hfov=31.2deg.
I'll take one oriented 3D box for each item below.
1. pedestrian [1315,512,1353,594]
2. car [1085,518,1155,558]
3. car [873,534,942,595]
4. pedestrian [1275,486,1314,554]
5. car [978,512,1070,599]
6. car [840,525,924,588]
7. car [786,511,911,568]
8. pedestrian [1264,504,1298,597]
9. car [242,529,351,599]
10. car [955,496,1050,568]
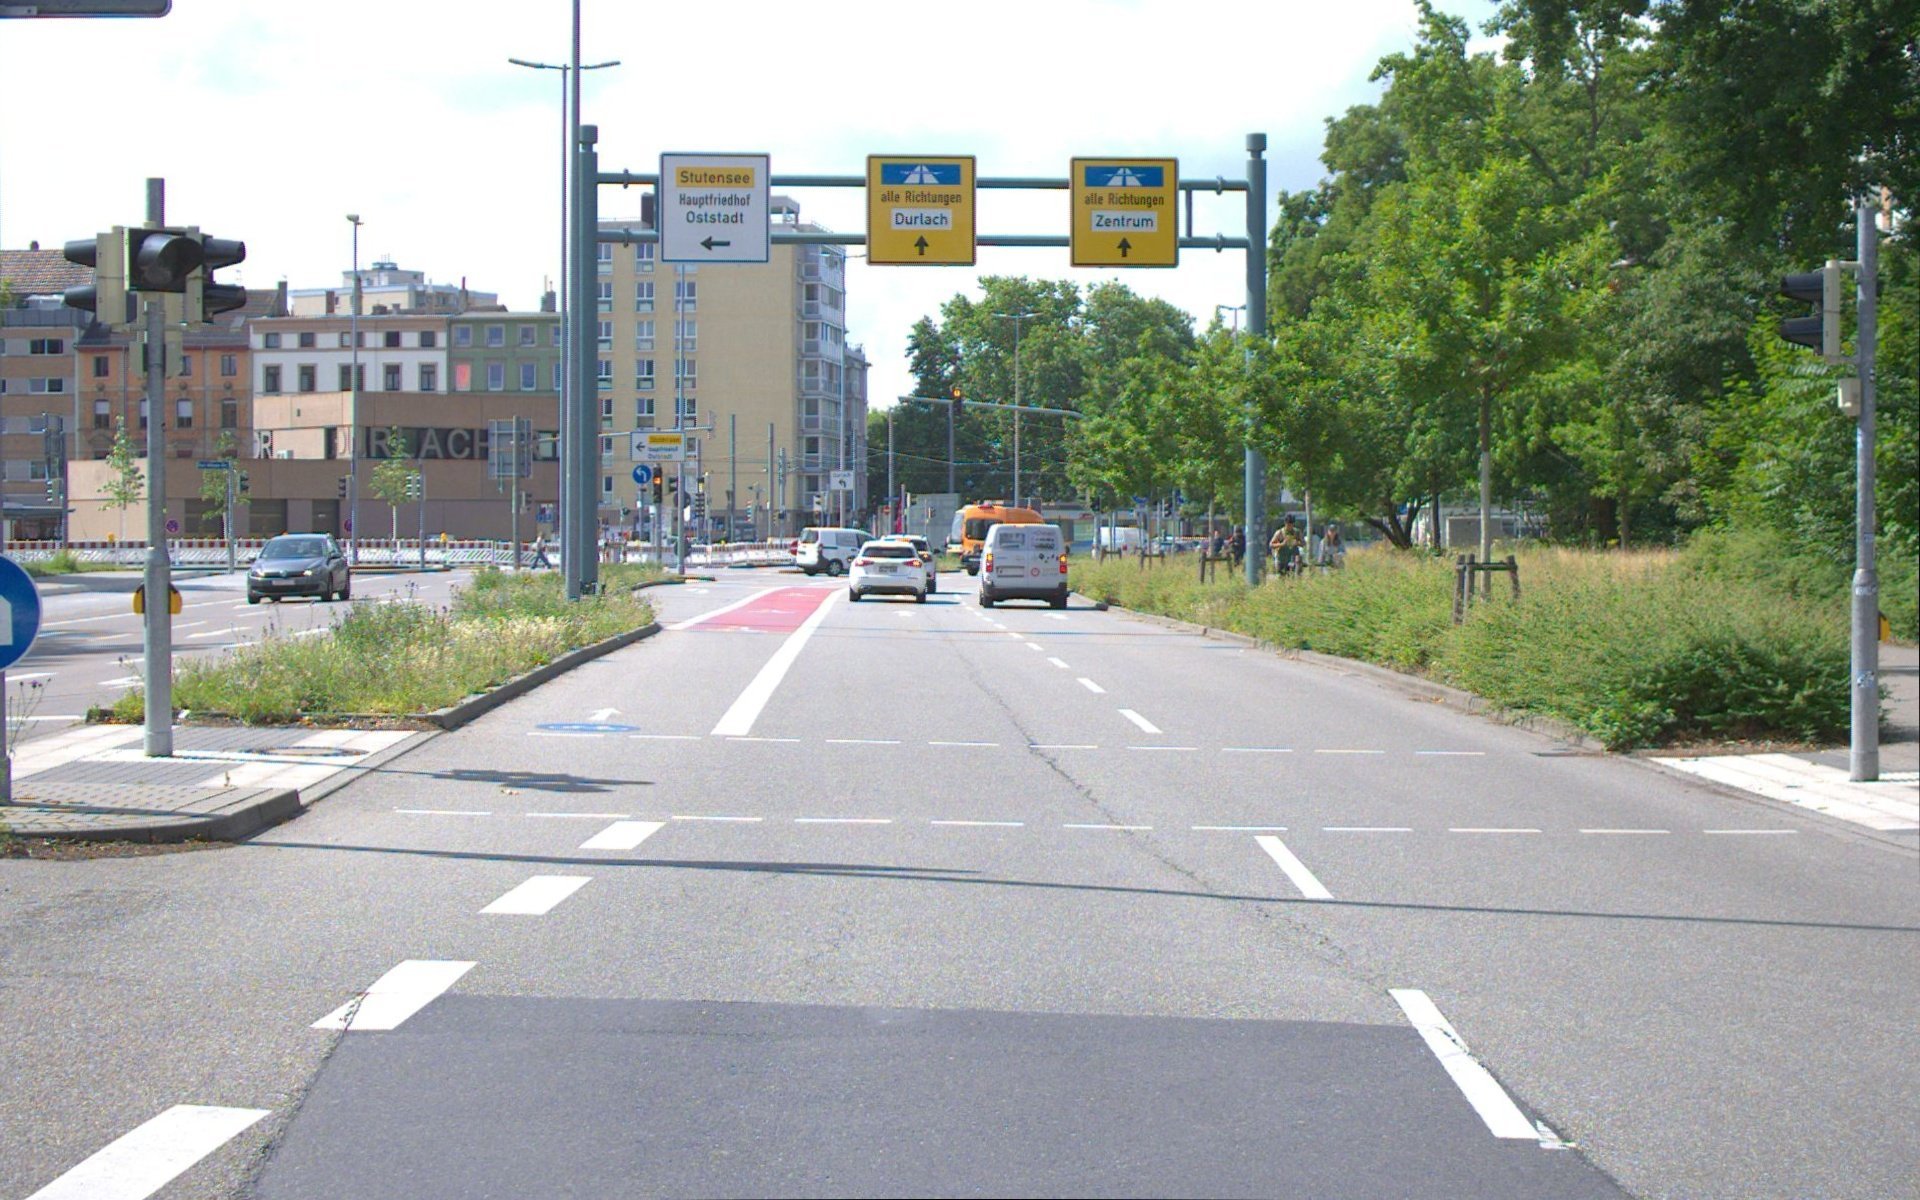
[{"bbox_3d":[7.265,-0.920,66.848,0.623,1.575,0.708,0,1,-1],"label":"pedestrian"},{"bbox_3d":[8.023,-3.091,171.753,2.008,1.960,4.633,0,1,23],"label":"car"},{"bbox_3d":[-1.416,-0.985,93.452,1.791,1.534,4.011,2,1,-1],"label":"car"},{"bbox_3d":[8.100,-1.926,83.252,0.868,1.633,0.721,0,1,1],"label":"pedestrian"},{"bbox_3d":[1.409,-1.034,77.451,1.942,1.863,4.826,0,1,0],"label":"car"},{"bbox_3d":[-1.827,-1.048,81.341,1.904,1.419,4.385,0,2,0],"label":"car"},{"bbox_3d":[-4.043,-2.192,124.622,3.986,1.809,2.000,3,1,-28],"label":"car"},{"bbox_3d":[6.222,-0.962,66.622,0.567,1.795,0.639,0,1,-1],"label":"pedestrian"},{"bbox_3d":[-14.418,-0.795,74.857,1.700,1.440,4.146,-1,1,-2],"label":"car"},{"bbox_3d":[1.689,-2.674,135.101,2.132,2.771,4.633,0,1,23],"label":"car"}]
